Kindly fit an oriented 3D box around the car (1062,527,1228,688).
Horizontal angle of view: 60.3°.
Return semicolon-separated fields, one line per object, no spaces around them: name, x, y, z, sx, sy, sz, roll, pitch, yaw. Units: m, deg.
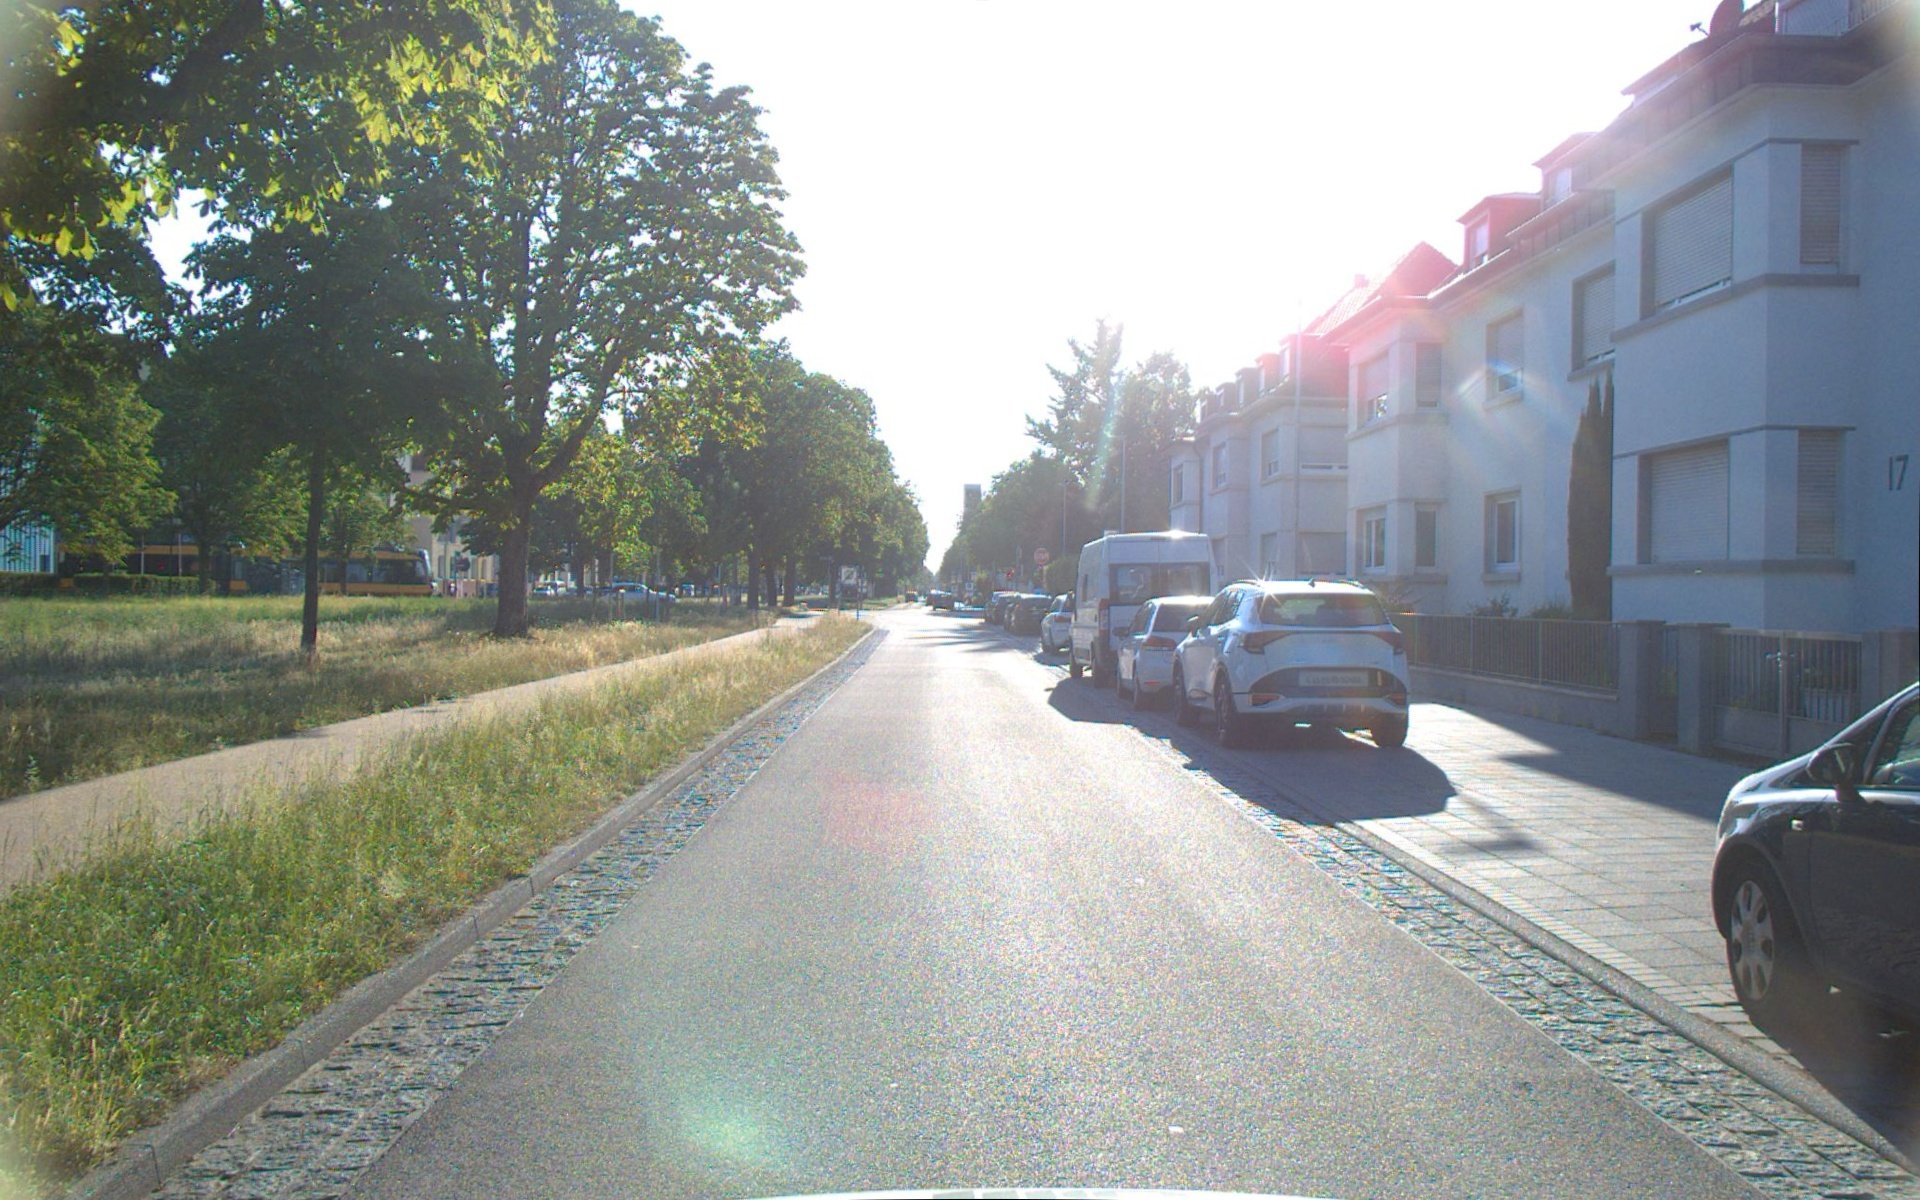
car;3.128;0.102;29.074;2.084;2.577;5.185;0;0;-3

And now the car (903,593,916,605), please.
car;-7.047;-0.150;231.768;1.773;1.557;3.851;0;0;0

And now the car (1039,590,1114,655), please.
car;2.898;0.528;41.681;1.616;1.557;3.851;0;0;0

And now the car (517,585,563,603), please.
car;-44.720;-0.626;176.213;4.257;1.795;2.000;2;0;0

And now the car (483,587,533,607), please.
car;-44.261;-0.305;162.022;4.257;1.795;2.000;2;0;0

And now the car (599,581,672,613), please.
car;-19.921;-0.159;101.719;4.266;1.795;1.996;2;0;-10

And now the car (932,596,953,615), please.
car;-1.428;0.427;134.827;1.616;1.557;3.851;0;0;0

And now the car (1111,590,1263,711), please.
car;3.103;0.636;23.206;1.616;1.557;3.851;0;0;0

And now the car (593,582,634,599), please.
car;-39.649;-1.104;189.415;4.257;1.795;2.000;2;0;0

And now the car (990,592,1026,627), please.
car;2.226;0.427;77.757;1.616;1.557;3.851;0;0;0

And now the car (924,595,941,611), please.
car;-2.798;0.324;168.857;1.616;1.557;3.851;0;0;0

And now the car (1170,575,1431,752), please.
car;3.494;0.582;17.737;1.800;1.664;4.129;0;0;-3

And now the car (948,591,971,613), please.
car;-0.022;0.116;116.666;1.616;1.557;3.851;0;0;0

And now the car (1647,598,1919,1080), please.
car;3.710;0.718;4.925;1.588;1.435;3.968;-3;0;-1

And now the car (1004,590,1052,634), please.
car;2.490;0.417;60.898;1.616;1.557;3.851;0;0;0

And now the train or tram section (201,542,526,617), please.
train or tram section;-38.551;-1.307;107.954;19.426;4.025;3.634;2;0;-11

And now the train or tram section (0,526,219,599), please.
train or tram section;-57.311;-2.440;104.341;18.731;4.025;3.634;2;0;-11

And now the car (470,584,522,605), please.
car;-43.733;-0.474;156.084;4.257;1.795;2.000;2;0;0
